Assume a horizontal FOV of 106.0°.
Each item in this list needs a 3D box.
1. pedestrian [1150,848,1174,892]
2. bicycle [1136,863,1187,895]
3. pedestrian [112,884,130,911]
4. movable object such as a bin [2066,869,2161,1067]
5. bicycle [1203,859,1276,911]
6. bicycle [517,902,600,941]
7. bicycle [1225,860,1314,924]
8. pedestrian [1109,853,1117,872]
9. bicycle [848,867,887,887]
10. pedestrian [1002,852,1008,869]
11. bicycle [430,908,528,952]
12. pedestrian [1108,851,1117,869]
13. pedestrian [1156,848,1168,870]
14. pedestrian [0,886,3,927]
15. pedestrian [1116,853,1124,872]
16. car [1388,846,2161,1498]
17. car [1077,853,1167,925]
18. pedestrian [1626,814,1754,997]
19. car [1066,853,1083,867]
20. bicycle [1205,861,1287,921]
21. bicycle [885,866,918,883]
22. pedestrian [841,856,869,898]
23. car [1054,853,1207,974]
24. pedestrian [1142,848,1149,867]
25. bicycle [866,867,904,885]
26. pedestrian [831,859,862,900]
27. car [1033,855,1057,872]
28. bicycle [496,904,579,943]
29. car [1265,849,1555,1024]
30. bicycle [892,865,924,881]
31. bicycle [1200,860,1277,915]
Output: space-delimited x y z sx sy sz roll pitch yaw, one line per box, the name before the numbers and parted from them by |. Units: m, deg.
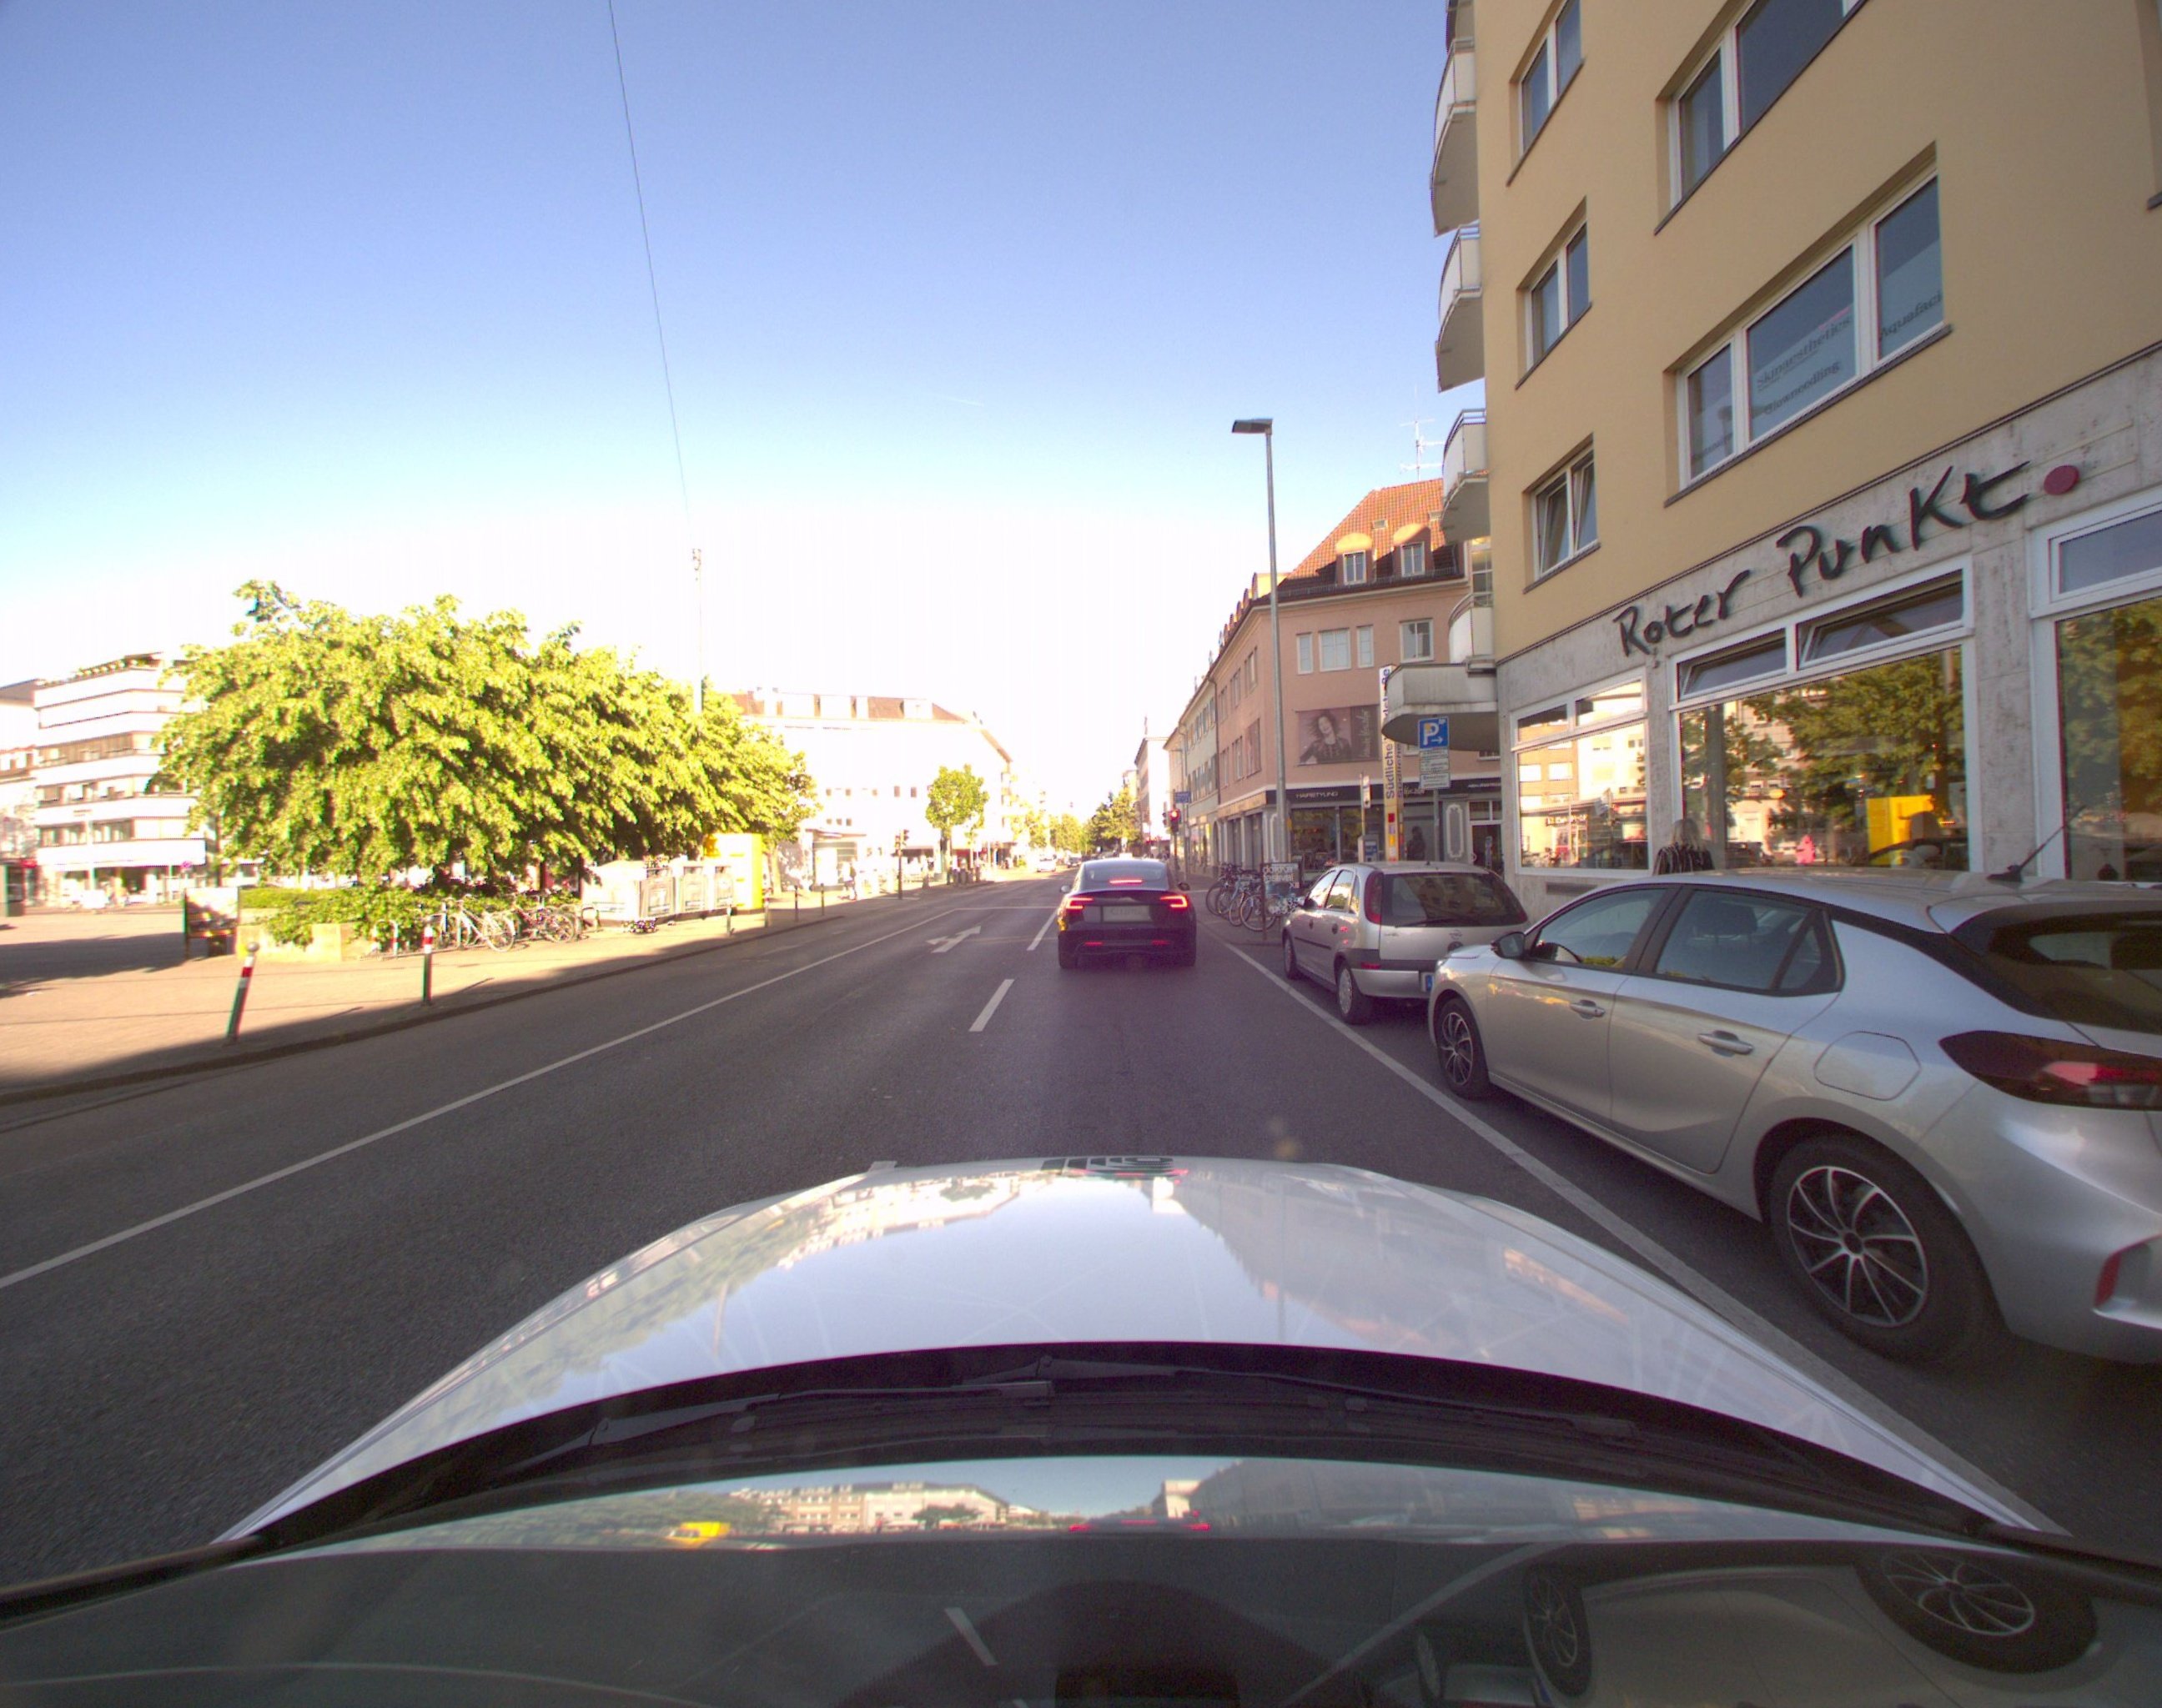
pedestrian | 2.698 0.519 27.126 0.738 1.440 0.584 -1 -1 12
bicycle | 2.689 0.826 27.134 1.605 1.045 0.593 -1 -1 11
pedestrian | -64.157 2.913 54.419 0.576 1.792 0.604 -1 -1 19
movable object such as a bin | 6.417 0.644 4.675 0.700 1.067 0.620 -4 0 1
bicycle | 3.818 0.744 19.685 1.621 1.160 0.433 -3 0 2
bicycle | -11.059 1.430 17.246 1.466 0.769 0.475 -1 -1 4
bicycle | 3.729 0.741 16.173 1.622 1.160 0.433 -3 0 0
pedestrian | 3.511 0.903 88.658 0.621 2.013 0.562 -1 0 21
bicycle | -12.587 1.369 48.059 2.074 1.104 0.806 -1 0 1
pedestrian | -9.455 0.817 101.892 0.623 2.013 0.575 -1 0 1
bicycle | -11.302 1.422 15.296 1.645 0.769 0.476 -1 -1 10
pedestrian | 3.527 0.664 91.958 0.754 2.013 0.792 -1 0 -24
pedestrian | 6.927 0.458 69.795 0.995 1.850 0.615 -1 0 1
pedestrian | -53.063 2.562 39.538 0.577 2.014 0.682 -1 -1 9
pedestrian | 4.226 0.917 88.330 0.620 2.013 0.562 -1 0 31
car | 3.119 0.702 3.885 1.666 1.427 4.074 -1 0 -2
car | 0.941 0.722 18.807 1.842 1.455 3.788 -1 0 3
pedestrian | 5.770 0.473 7.753 0.659 1.633 0.629 -4 -1 6
car | -0.813 0.798 103.982 2.044 1.727 4.651 -1 0 -1
bicycle | 3.503 0.781 17.352 1.622 1.160 0.433 -3 0 0
bicycle | -12.200 1.389 55.349 2.074 1.104 0.806 -1 0 1
pedestrian | -9.476 0.948 34.118 0.897 1.725 0.745 -1 0 5
car | 0.697 0.729 11.907 1.842 1.455 3.788 -1 0 3
pedestrian | 7.010 0.393 88.387 0.620 2.013 0.562 -1 0 26
bicycle | -12.164 1.356 50.570 2.074 1.104 0.806 -1 0 1
pedestrian | -9.565 1.045 33.202 0.981 1.636 0.738 -1 0 5
car | -3.629 0.958 82.564 1.986 1.541 4.002 -5 0 2
bicycle | -11.132 1.422 16.688 1.465 0.769 0.442 -1 -1 6
car | 3.107 0.671 8.552 1.615 1.394 3.889 -1 0 3
bicycle | -12.238 1.357 57.546 2.074 1.104 0.806 -1 0 1
bicycle | 3.590 0.760 18.596 1.622 1.160 0.433 -3 0 0
